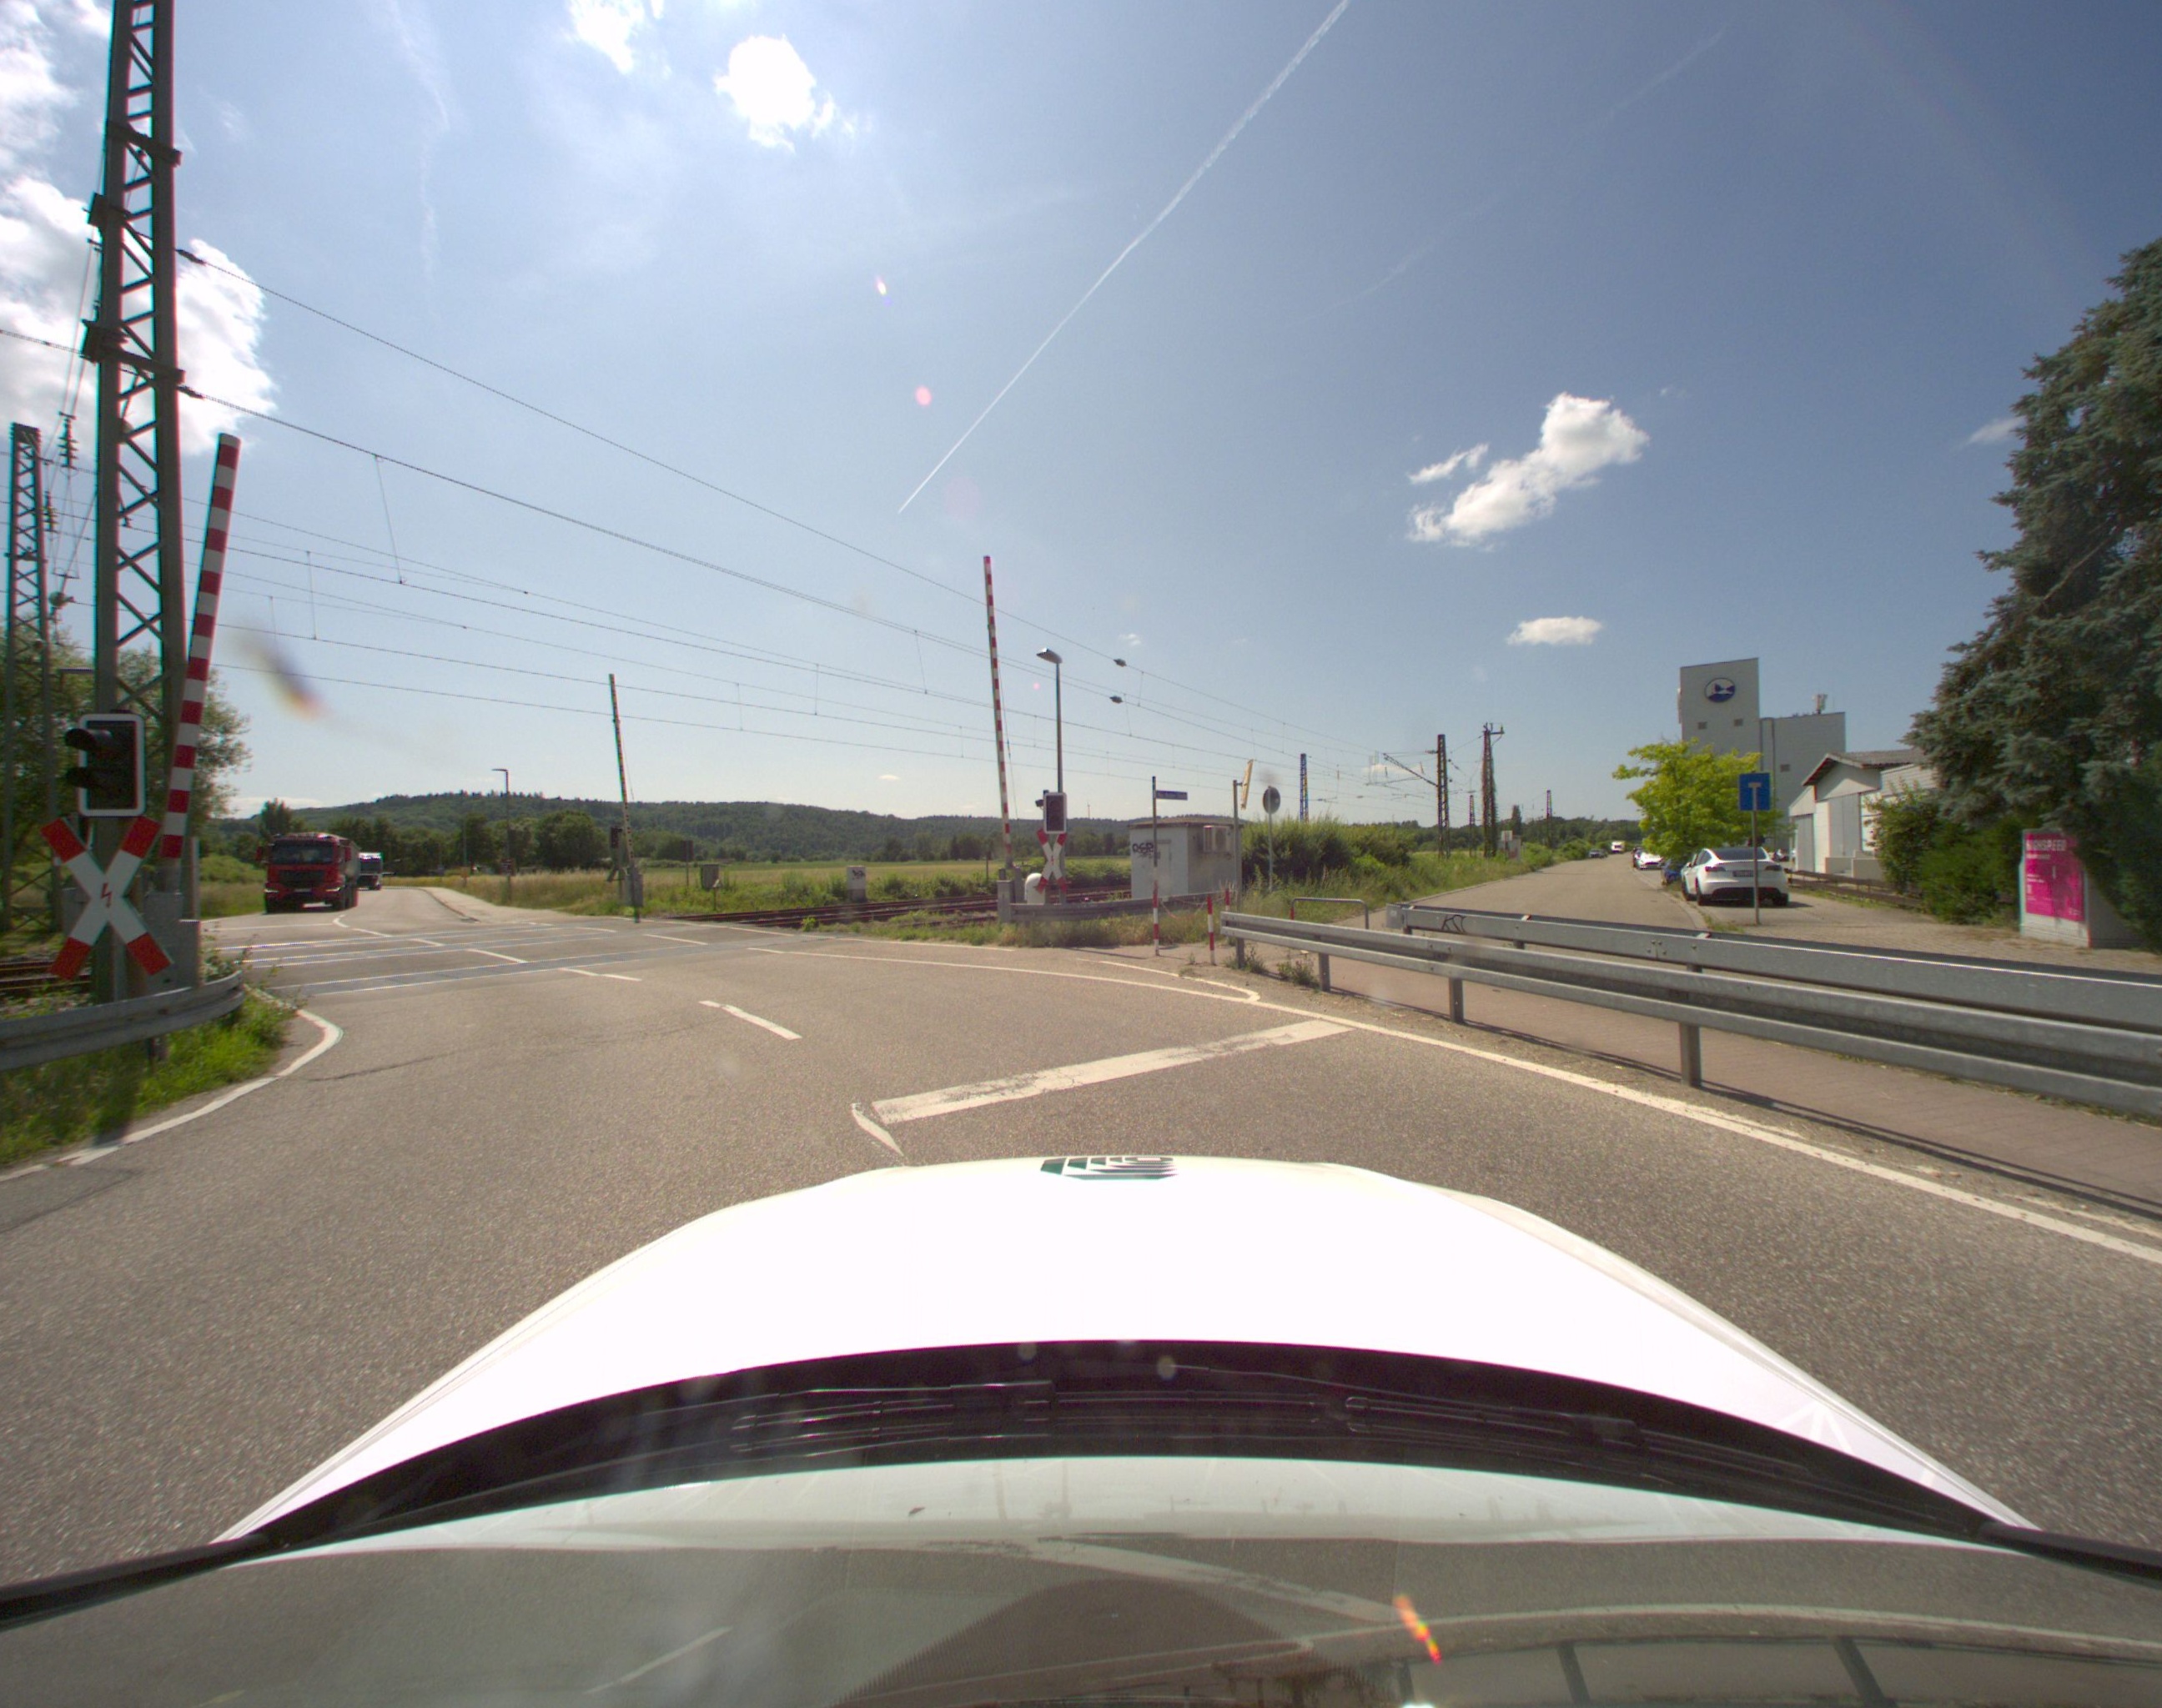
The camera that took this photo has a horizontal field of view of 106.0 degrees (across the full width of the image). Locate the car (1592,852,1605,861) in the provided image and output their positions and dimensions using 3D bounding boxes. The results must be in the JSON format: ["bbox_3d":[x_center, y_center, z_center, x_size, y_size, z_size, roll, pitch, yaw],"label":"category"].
[{"bbox_3d":[88.323,0.393,138.987,1.630,1.478,2.921,-1,0,35],"label":"car"}]

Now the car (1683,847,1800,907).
[{"bbox_3d":[18.559,0.593,23.091,1.974,1.510,4.482,-1,0,31],"label":"car"}]

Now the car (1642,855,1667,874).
[{"bbox_3d":[46.547,0.842,66.126,1.575,1.453,3.354,-1,0,34],"label":"car"}]

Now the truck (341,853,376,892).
[{"bbox_3d":[-77.319,1.949,87.267,2.592,3.948,5.968,-1,-1,-40],"label":"truck"}]

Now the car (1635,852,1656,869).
[{"bbox_3d":[52.881,0.600,76.325,1.575,1.453,3.354,-1,0,34],"label":"car"}]

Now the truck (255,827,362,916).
[{"bbox_3d":[-37.488,0.849,39.911,2.896,3.745,12.007,0,-1,-39],"label":"truck"}]

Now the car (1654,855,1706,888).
[{"bbox_3d":[27.053,0.777,36.833,1.560,1.376,3.074,-1,0,30],"label":"car"}]

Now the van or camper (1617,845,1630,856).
[{"bbox_3d":[126.237,-0.858,189.445,2.474,2.450,4.895,-1,0,35],"label":"van or camper"}]
